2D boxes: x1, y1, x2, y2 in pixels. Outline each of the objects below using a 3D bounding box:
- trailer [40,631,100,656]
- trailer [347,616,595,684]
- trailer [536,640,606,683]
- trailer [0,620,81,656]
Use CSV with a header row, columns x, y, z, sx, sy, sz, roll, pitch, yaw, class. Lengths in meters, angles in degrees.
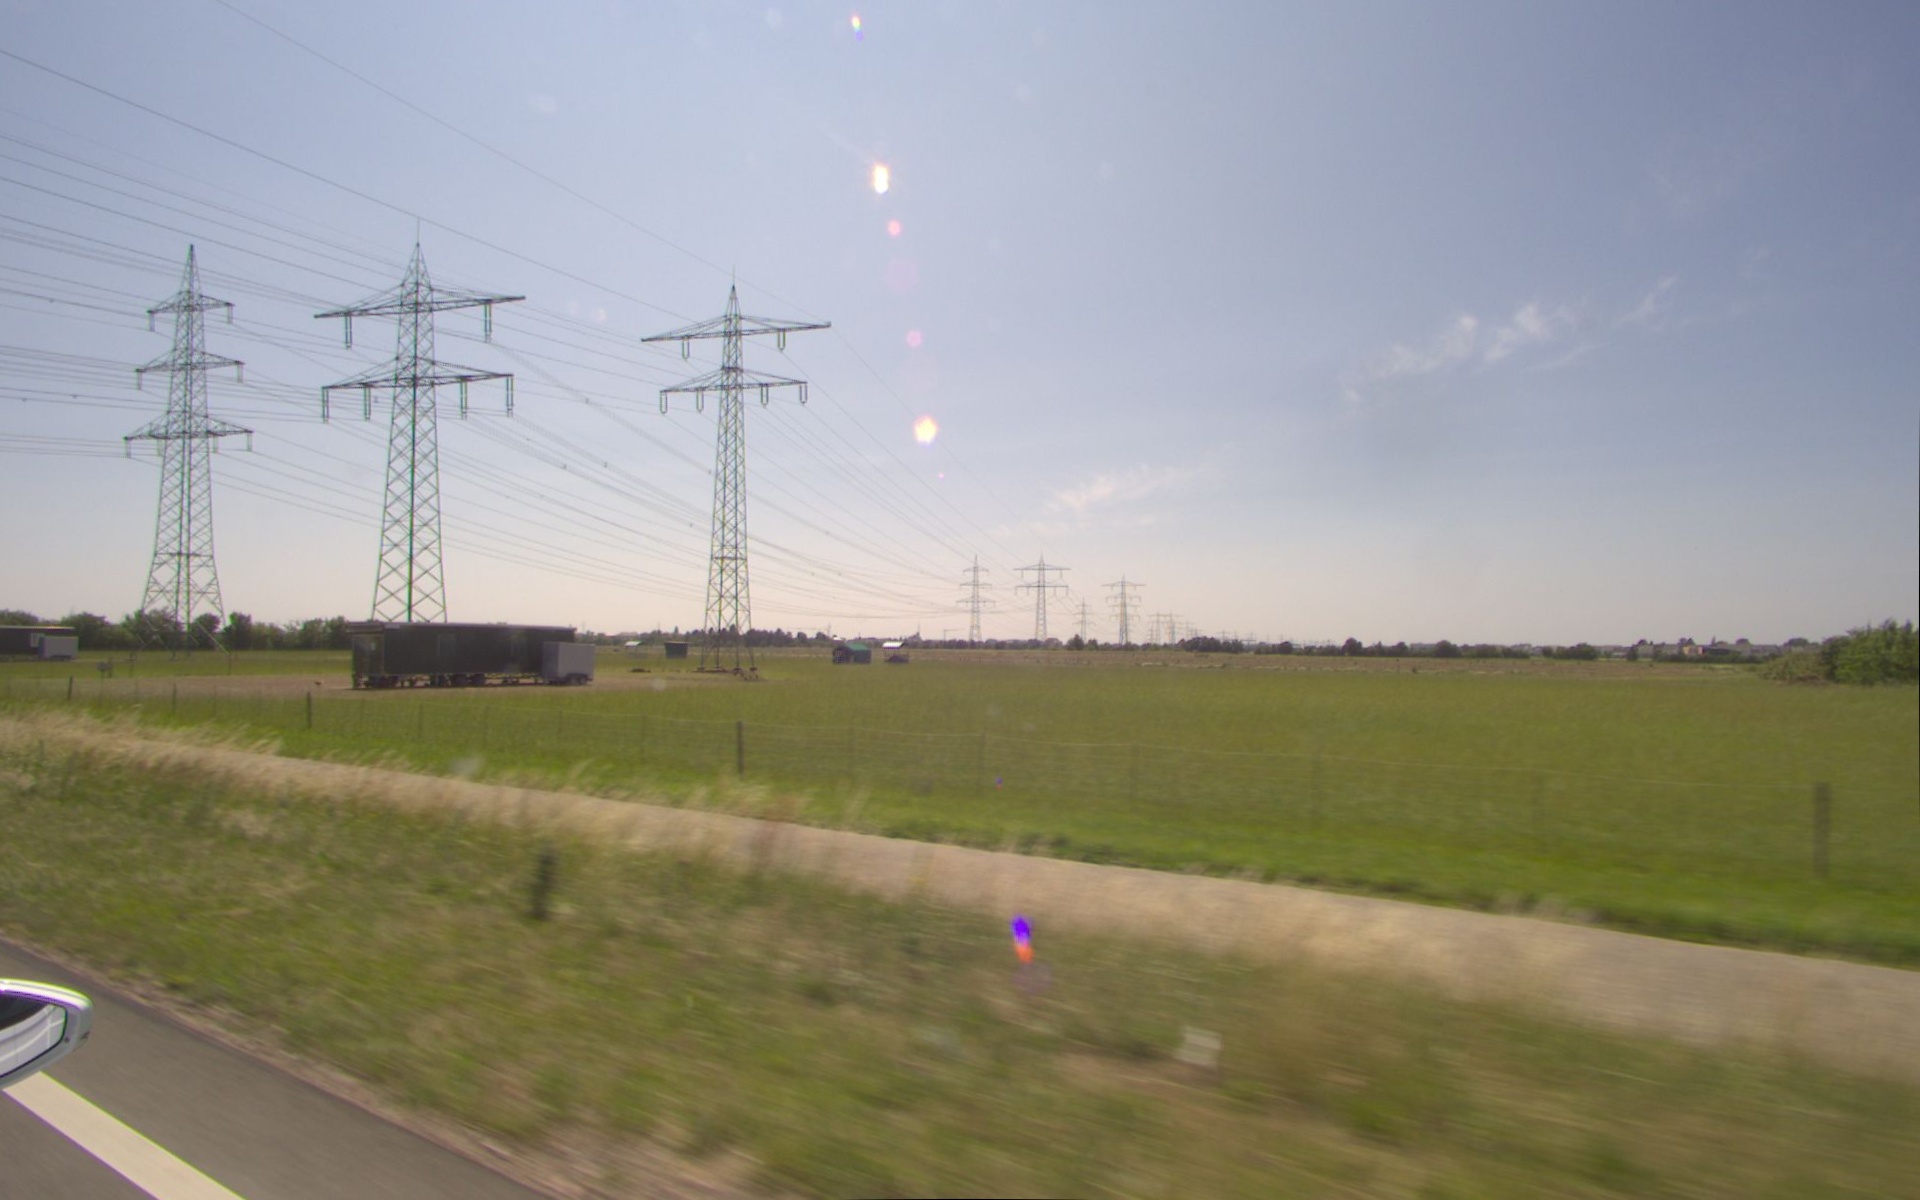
x,y,z,sx,sy,sz,roll,pitch,yaw,class
-88.438,4.334,99.550,1.968,2.473,3.988,0,-2,26,trailer
-27.767,2.885,58.142,3.227,3.518,13.501,0,-3,30,trailer
-23.375,3.672,60.271,2.007,2.493,3.405,0,-2,30,trailer
-93.449,3.644,96.619,3.746,3.516,12.408,0,-3,28,trailer
